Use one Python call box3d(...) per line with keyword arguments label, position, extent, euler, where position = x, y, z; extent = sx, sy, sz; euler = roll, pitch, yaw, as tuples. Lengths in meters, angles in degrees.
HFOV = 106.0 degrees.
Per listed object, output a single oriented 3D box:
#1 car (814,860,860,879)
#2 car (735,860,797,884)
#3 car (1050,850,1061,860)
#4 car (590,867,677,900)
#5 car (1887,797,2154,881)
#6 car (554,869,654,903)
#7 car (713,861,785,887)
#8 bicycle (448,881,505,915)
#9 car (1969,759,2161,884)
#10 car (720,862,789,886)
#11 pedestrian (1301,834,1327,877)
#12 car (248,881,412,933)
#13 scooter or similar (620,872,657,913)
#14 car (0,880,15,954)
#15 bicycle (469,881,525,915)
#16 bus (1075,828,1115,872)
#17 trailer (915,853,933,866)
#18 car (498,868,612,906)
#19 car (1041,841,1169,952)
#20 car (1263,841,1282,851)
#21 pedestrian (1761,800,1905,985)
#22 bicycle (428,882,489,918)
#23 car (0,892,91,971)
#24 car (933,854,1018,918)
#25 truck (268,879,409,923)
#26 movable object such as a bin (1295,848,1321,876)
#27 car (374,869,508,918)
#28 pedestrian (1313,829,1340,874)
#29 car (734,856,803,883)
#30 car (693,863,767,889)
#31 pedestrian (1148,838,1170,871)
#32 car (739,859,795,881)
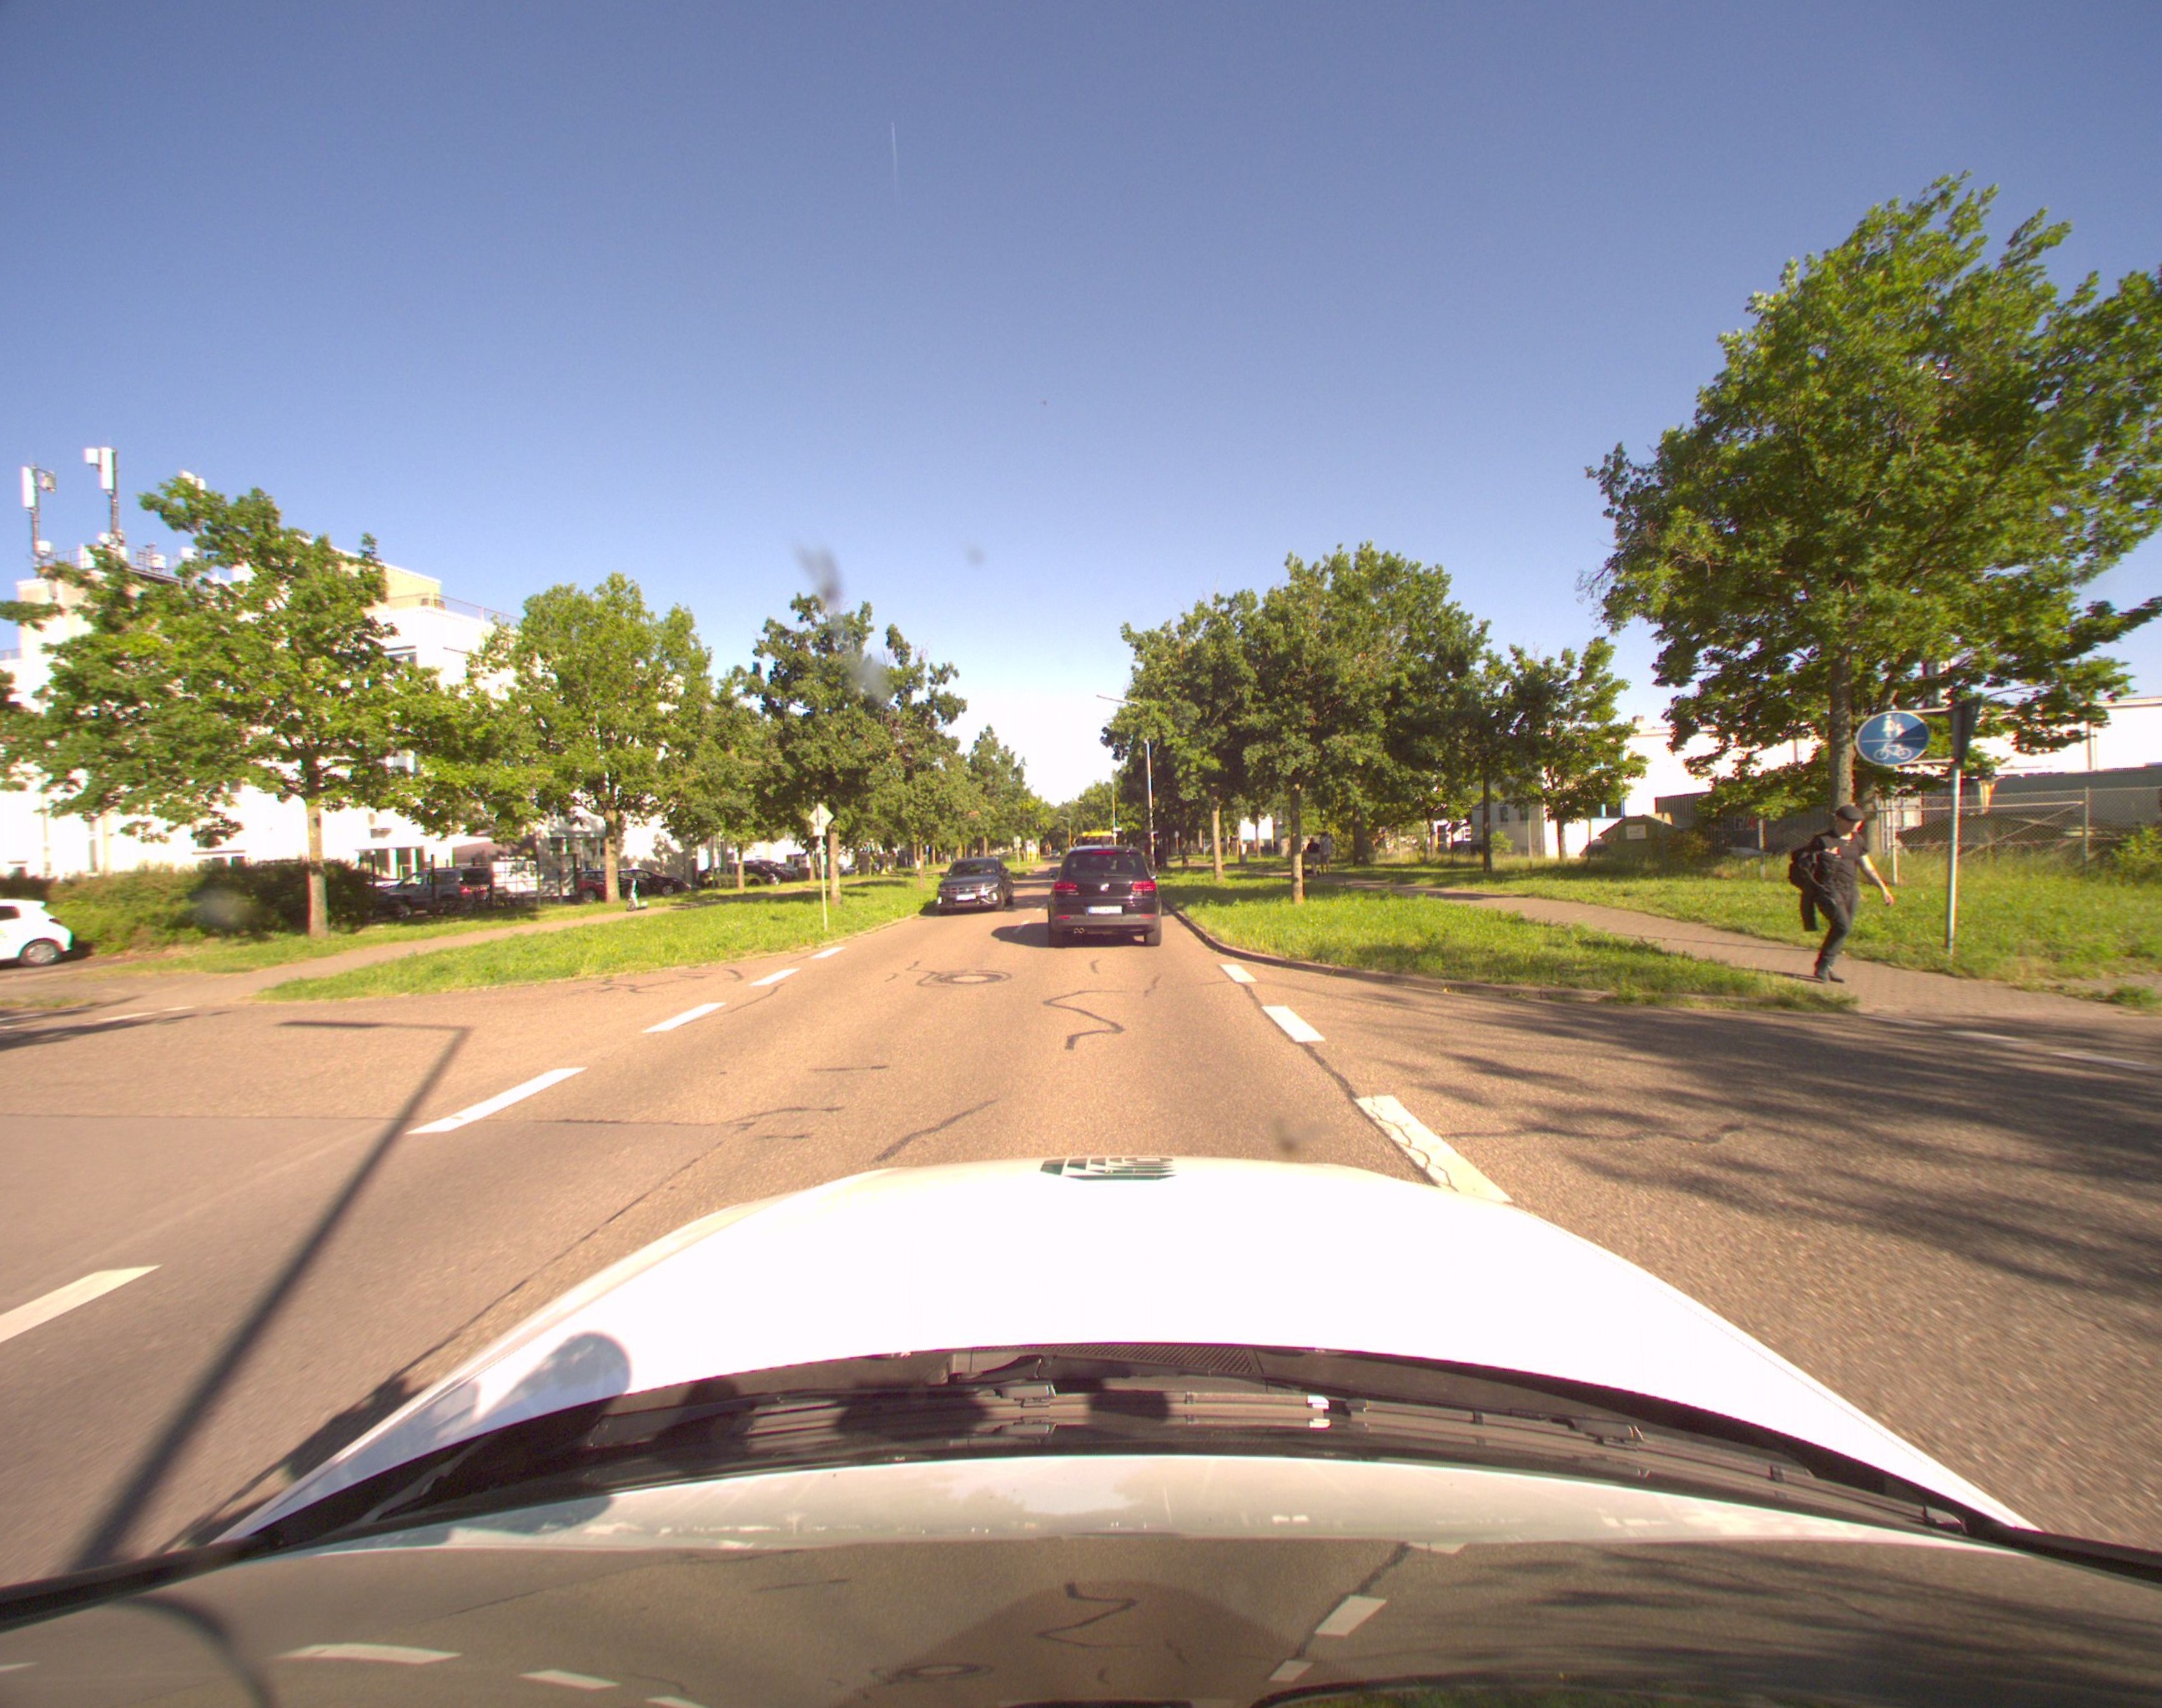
box3d(label="car", position=(-23.673, 1.512, 78.904), extent=(3.714, 1.618, 1.972), euler=(-2, 0, 15))
box3d(label="car", position=(-24.299, 1.361, 62.814), extent=(4.184, 1.562, 1.980), euler=(-3, 0, -31))
box3d(label="car", position=(-4.155, 0.176, 133.534), extent=(1.739, 1.464, 4.424), euler=(-3, 1, -2))
box3d(label="car", position=(-24.056, 1.563, 43.916), extent=(4.011, 1.511, 1.785), euler=(-3, 1, -29))
box3d(label="car", position=(21.346, -0.324, 18.756), extent=(1.998, 1.664, 3.598), euler=(-3, 0, 1))
box3d(label="car", position=(-23.883, 1.572, 40.852), extent=(4.022, 1.448, 1.779), euler=(-3, 0, -42))
box3d(label="car", position=(-22.936, 1.359, 56.275), extent=(4.192, 1.538, 1.874), euler=(-3, 0, -41))
box3d(label="bicycle", position=(-22.326, 1.607, 30.124), extent=(0.637, 1.087, 1.891), euler=(-2, 0, 1))
box3d(label="car", position=(23.915, -0.745, 18.528), extent=(2.152, 2.643, 4.852), euler=(-3, 0, 1))
box3d(label="car", position=(-23.764, 1.434, 59.338), extent=(4.190, 1.491, 1.977), euler=(-3, 0, -38))
box3d(label="pedestrian", position=(9.049, 0.065, 31.669), extent=(0.723, 1.603, 0.867), euler=(-2, 0, 0))
box3d(label="car", position=(-26.089, 1.795, 28.508), extent=(1.787, 1.448, 4.005), euler=(-2, 0, 4))
box3d(label="scooter or similar", position=(-14.985, 1.290, 27.597), extent=(0.393, 1.279, 1.442), euler=(-2, 0, 2))
box3d(label="car", position=(-28.405, 1.757, 17.897), extent=(2.285, 1.816, 5.462), euler=(-2, 3, 13))
box3d(label="bicycle", position=(-21.339, 1.585, 29.812), extent=(0.637, 1.087, 1.891), euler=(-2, 0, 1))
box3d(label="bus", position=(1.071, -0.361, 70.834), extent=(2.757, 3.456, 11.202), euler=(-2, 1, -2))
box3d(label="trailer", position=(-24.613, 0.877, 128.057), extent=(2.096, 1.914, 3.739), euler=(-2, 0, -1))
box3d(label="car", position=(-23.985, 1.488, 37.209), extent=(1.778, 1.448, 4.024), euler=(-2, 0, 43))
box3d(label="car", position=(0.401, 0.619, 14.638), extent=(1.929, 1.656, 4.428), euler=(-1, 1, 1))
box3d(label="car", position=(29.056, -1.214, 123.709), extent=(1.762, 1.383, 3.762), euler=(-2, 1, -5))
box3d(label="pedestrian", position=(7.853, 0.366, 8.543), extent=(0.723, 1.812, 0.868), euler=(-2, 3, 0))
box3d(label="bicycle", position=(-21.676, 1.586, 28.407), extent=(0.637, 1.087, 1.891), euler=(-2, 0, 1))
box3d(label="car", position=(-23.578, 1.749, 16.469), extent=(1.980, 1.504, 3.932), euler=(-2, 3, 12))
box3d(label="car", position=(-2.981, 0.846, 23.872), extent=(1.799, 1.536, 4.495), euler=(-4, 1, 0))
box3d(label="truck", position=(-30.529, 1.907, 33.534), extent=(4.581, 1.624, 2.097), euler=(-1, 1, 15))
box3d(label="movable object such as a bin", position=(9.053, 0.319, 32.540), extent=(0.723, 1.081, 0.867), euler=(-4, 0, 0))
box3d(label="car", position=(-25.375, 1.538, 32.370), extent=(3.991, 1.783, 2.032), euler=(-1, 1, 11))
box3d(label="pedestrian", position=(9.861, -0.111, 32.772), extent=(0.723, 1.755, 0.868), euler=(-4, 0, 1))
box3d(label="car", position=(-25.939, 1.287, 67.732), extent=(4.885, 2.013, 1.976), euler=(-3, 0, -41))
box3d(label="car", position=(-22.838, 1.413, 53.069), extent=(3.975, 1.401, 1.976), euler=(-3, 0, -41))
box3d(label="pedestrian", position=(4.025, 0.038, 42.177), extent=(1.016, 1.651, 1.100), euler=(-2, 0, 0))
box3d(label="car", position=(-31.192, 1.594, 80.865), extent=(4.971, 1.906, 1.950), euler=(-2, 0, 16))
